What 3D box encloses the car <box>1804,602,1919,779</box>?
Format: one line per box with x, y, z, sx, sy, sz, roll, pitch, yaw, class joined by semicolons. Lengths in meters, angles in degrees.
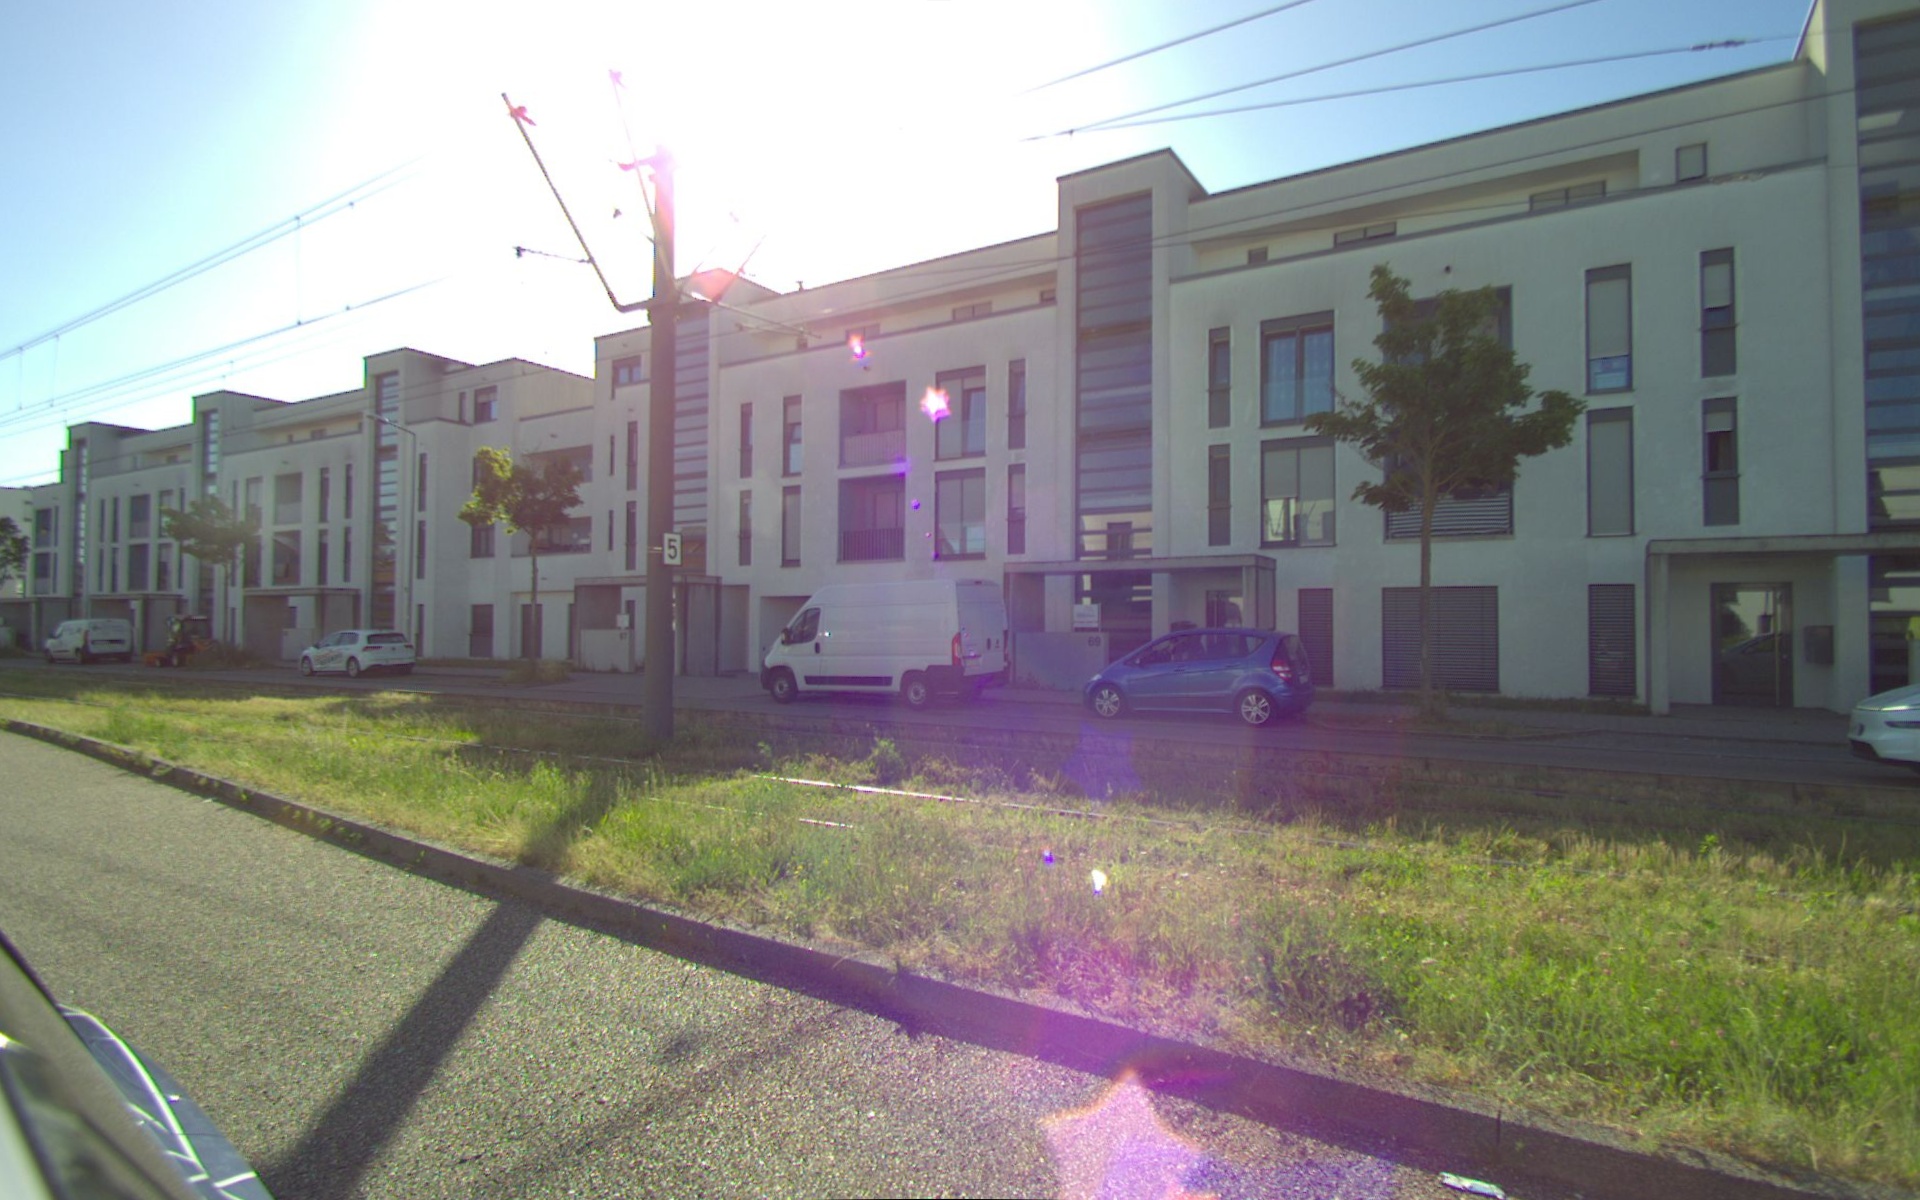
10.808;0.845;9.102;4.630;1.608;1.978;-1;-4;32;car

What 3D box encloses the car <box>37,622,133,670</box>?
-36.546;1.889;42.254;4.140;1.884;1.750;-1;0;30;car

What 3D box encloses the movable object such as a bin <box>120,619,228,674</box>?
-29.649;1.724;38.163;4.140;1.952;1.750;-1;0;30;movable object such as a bin

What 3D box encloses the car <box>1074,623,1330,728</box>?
4.073;1.192;17.183;3.831;1.548;1.809;-1;0;34;car

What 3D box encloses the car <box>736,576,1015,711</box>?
-1.824;0.844;20.922;5.571;2.463;2.124;-1;0;32;car

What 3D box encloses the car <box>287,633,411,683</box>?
-19.159;1.777;31.703;4.140;1.443;1.507;-1;0;30;car
